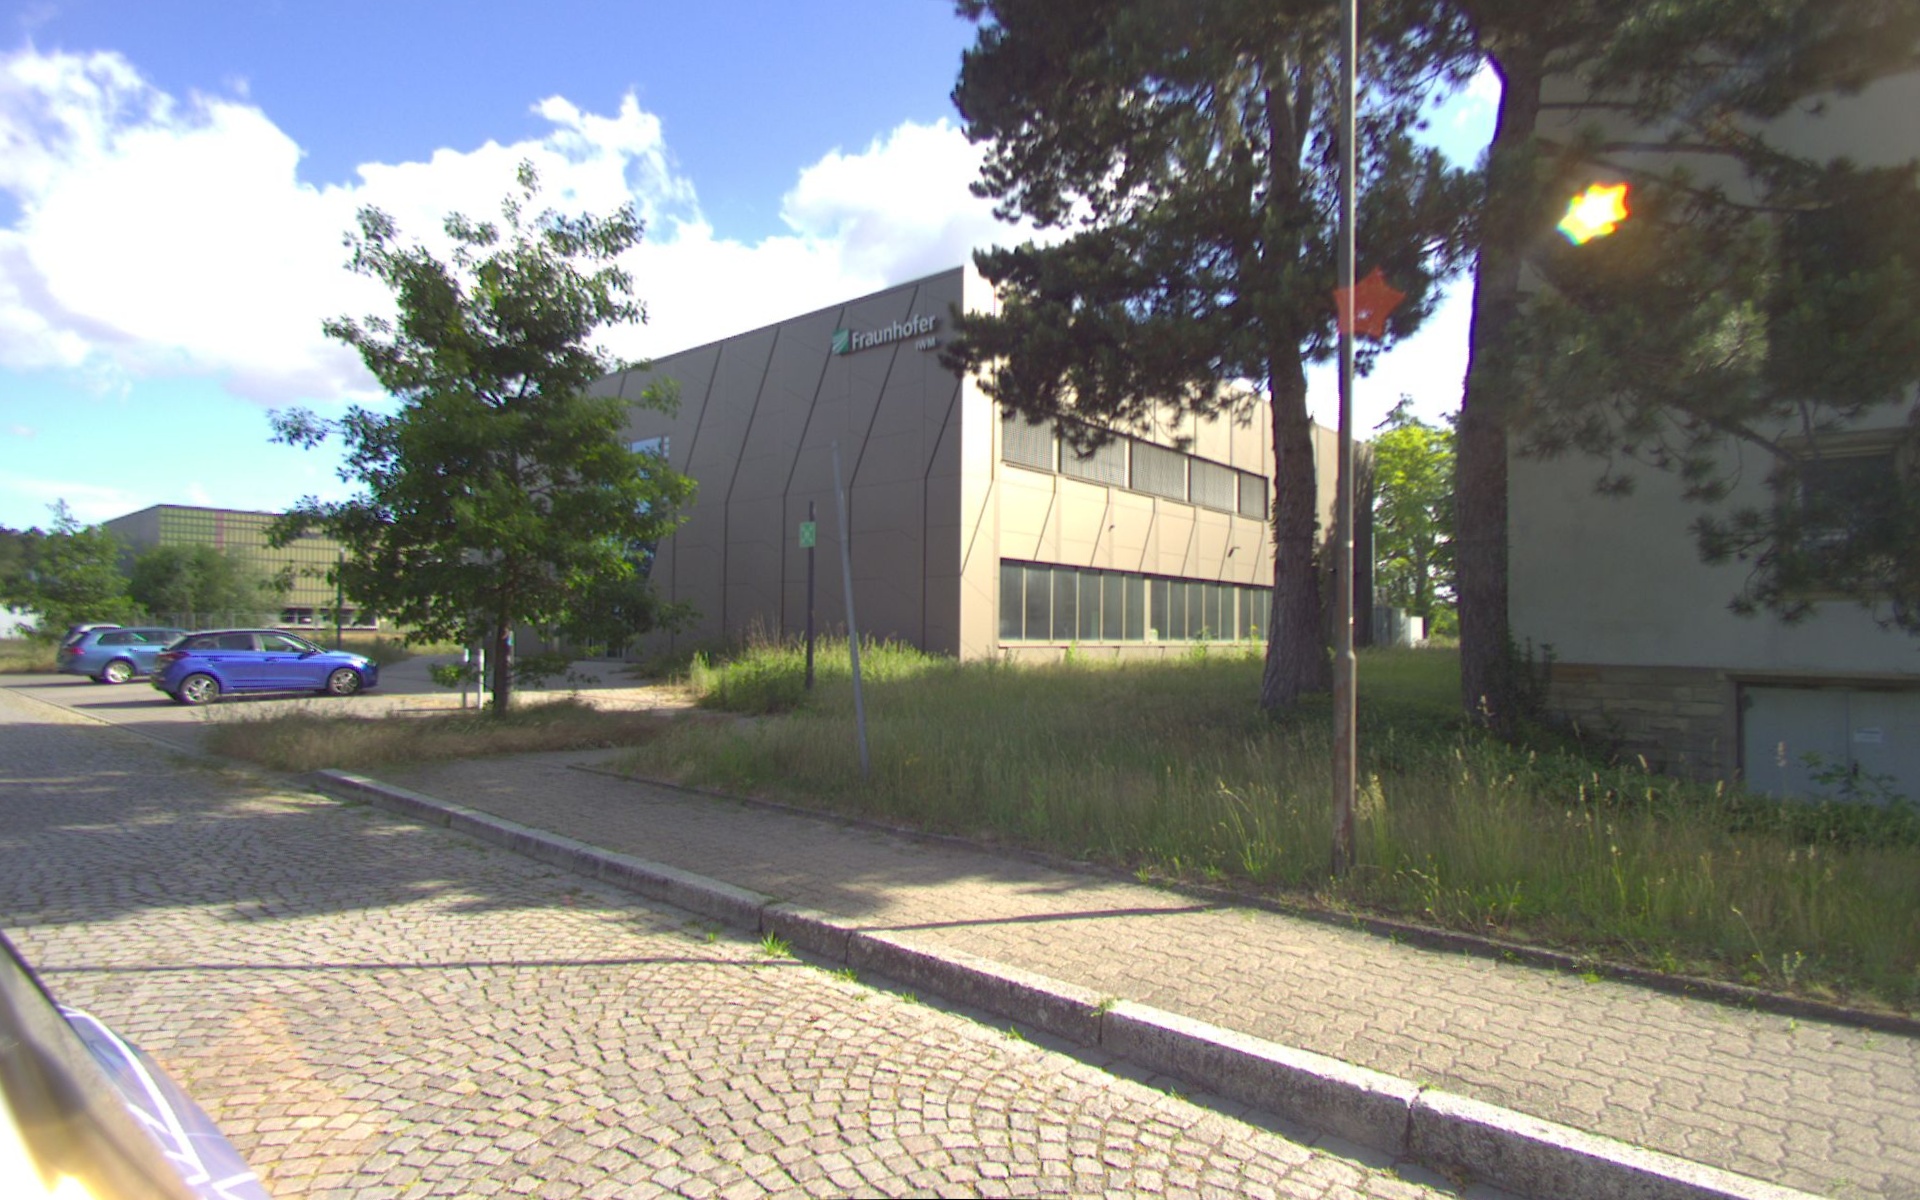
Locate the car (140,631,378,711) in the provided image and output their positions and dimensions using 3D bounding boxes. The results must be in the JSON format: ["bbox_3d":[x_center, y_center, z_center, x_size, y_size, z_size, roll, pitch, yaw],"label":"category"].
[{"bbox_3d":[-14.752,1.414,21.437,1.735,1.479,3.866,-1,-2,43],"label":"car"}]

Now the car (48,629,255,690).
[{"bbox_3d":[-21.953,1.568,27.621,1.732,1.485,4.128,-1,-1,38],"label":"car"}]

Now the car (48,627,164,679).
[{"bbox_3d":[-27.413,1.657,32.534,1.480,1.580,2.619,-1,-2,39],"label":"car"}]
